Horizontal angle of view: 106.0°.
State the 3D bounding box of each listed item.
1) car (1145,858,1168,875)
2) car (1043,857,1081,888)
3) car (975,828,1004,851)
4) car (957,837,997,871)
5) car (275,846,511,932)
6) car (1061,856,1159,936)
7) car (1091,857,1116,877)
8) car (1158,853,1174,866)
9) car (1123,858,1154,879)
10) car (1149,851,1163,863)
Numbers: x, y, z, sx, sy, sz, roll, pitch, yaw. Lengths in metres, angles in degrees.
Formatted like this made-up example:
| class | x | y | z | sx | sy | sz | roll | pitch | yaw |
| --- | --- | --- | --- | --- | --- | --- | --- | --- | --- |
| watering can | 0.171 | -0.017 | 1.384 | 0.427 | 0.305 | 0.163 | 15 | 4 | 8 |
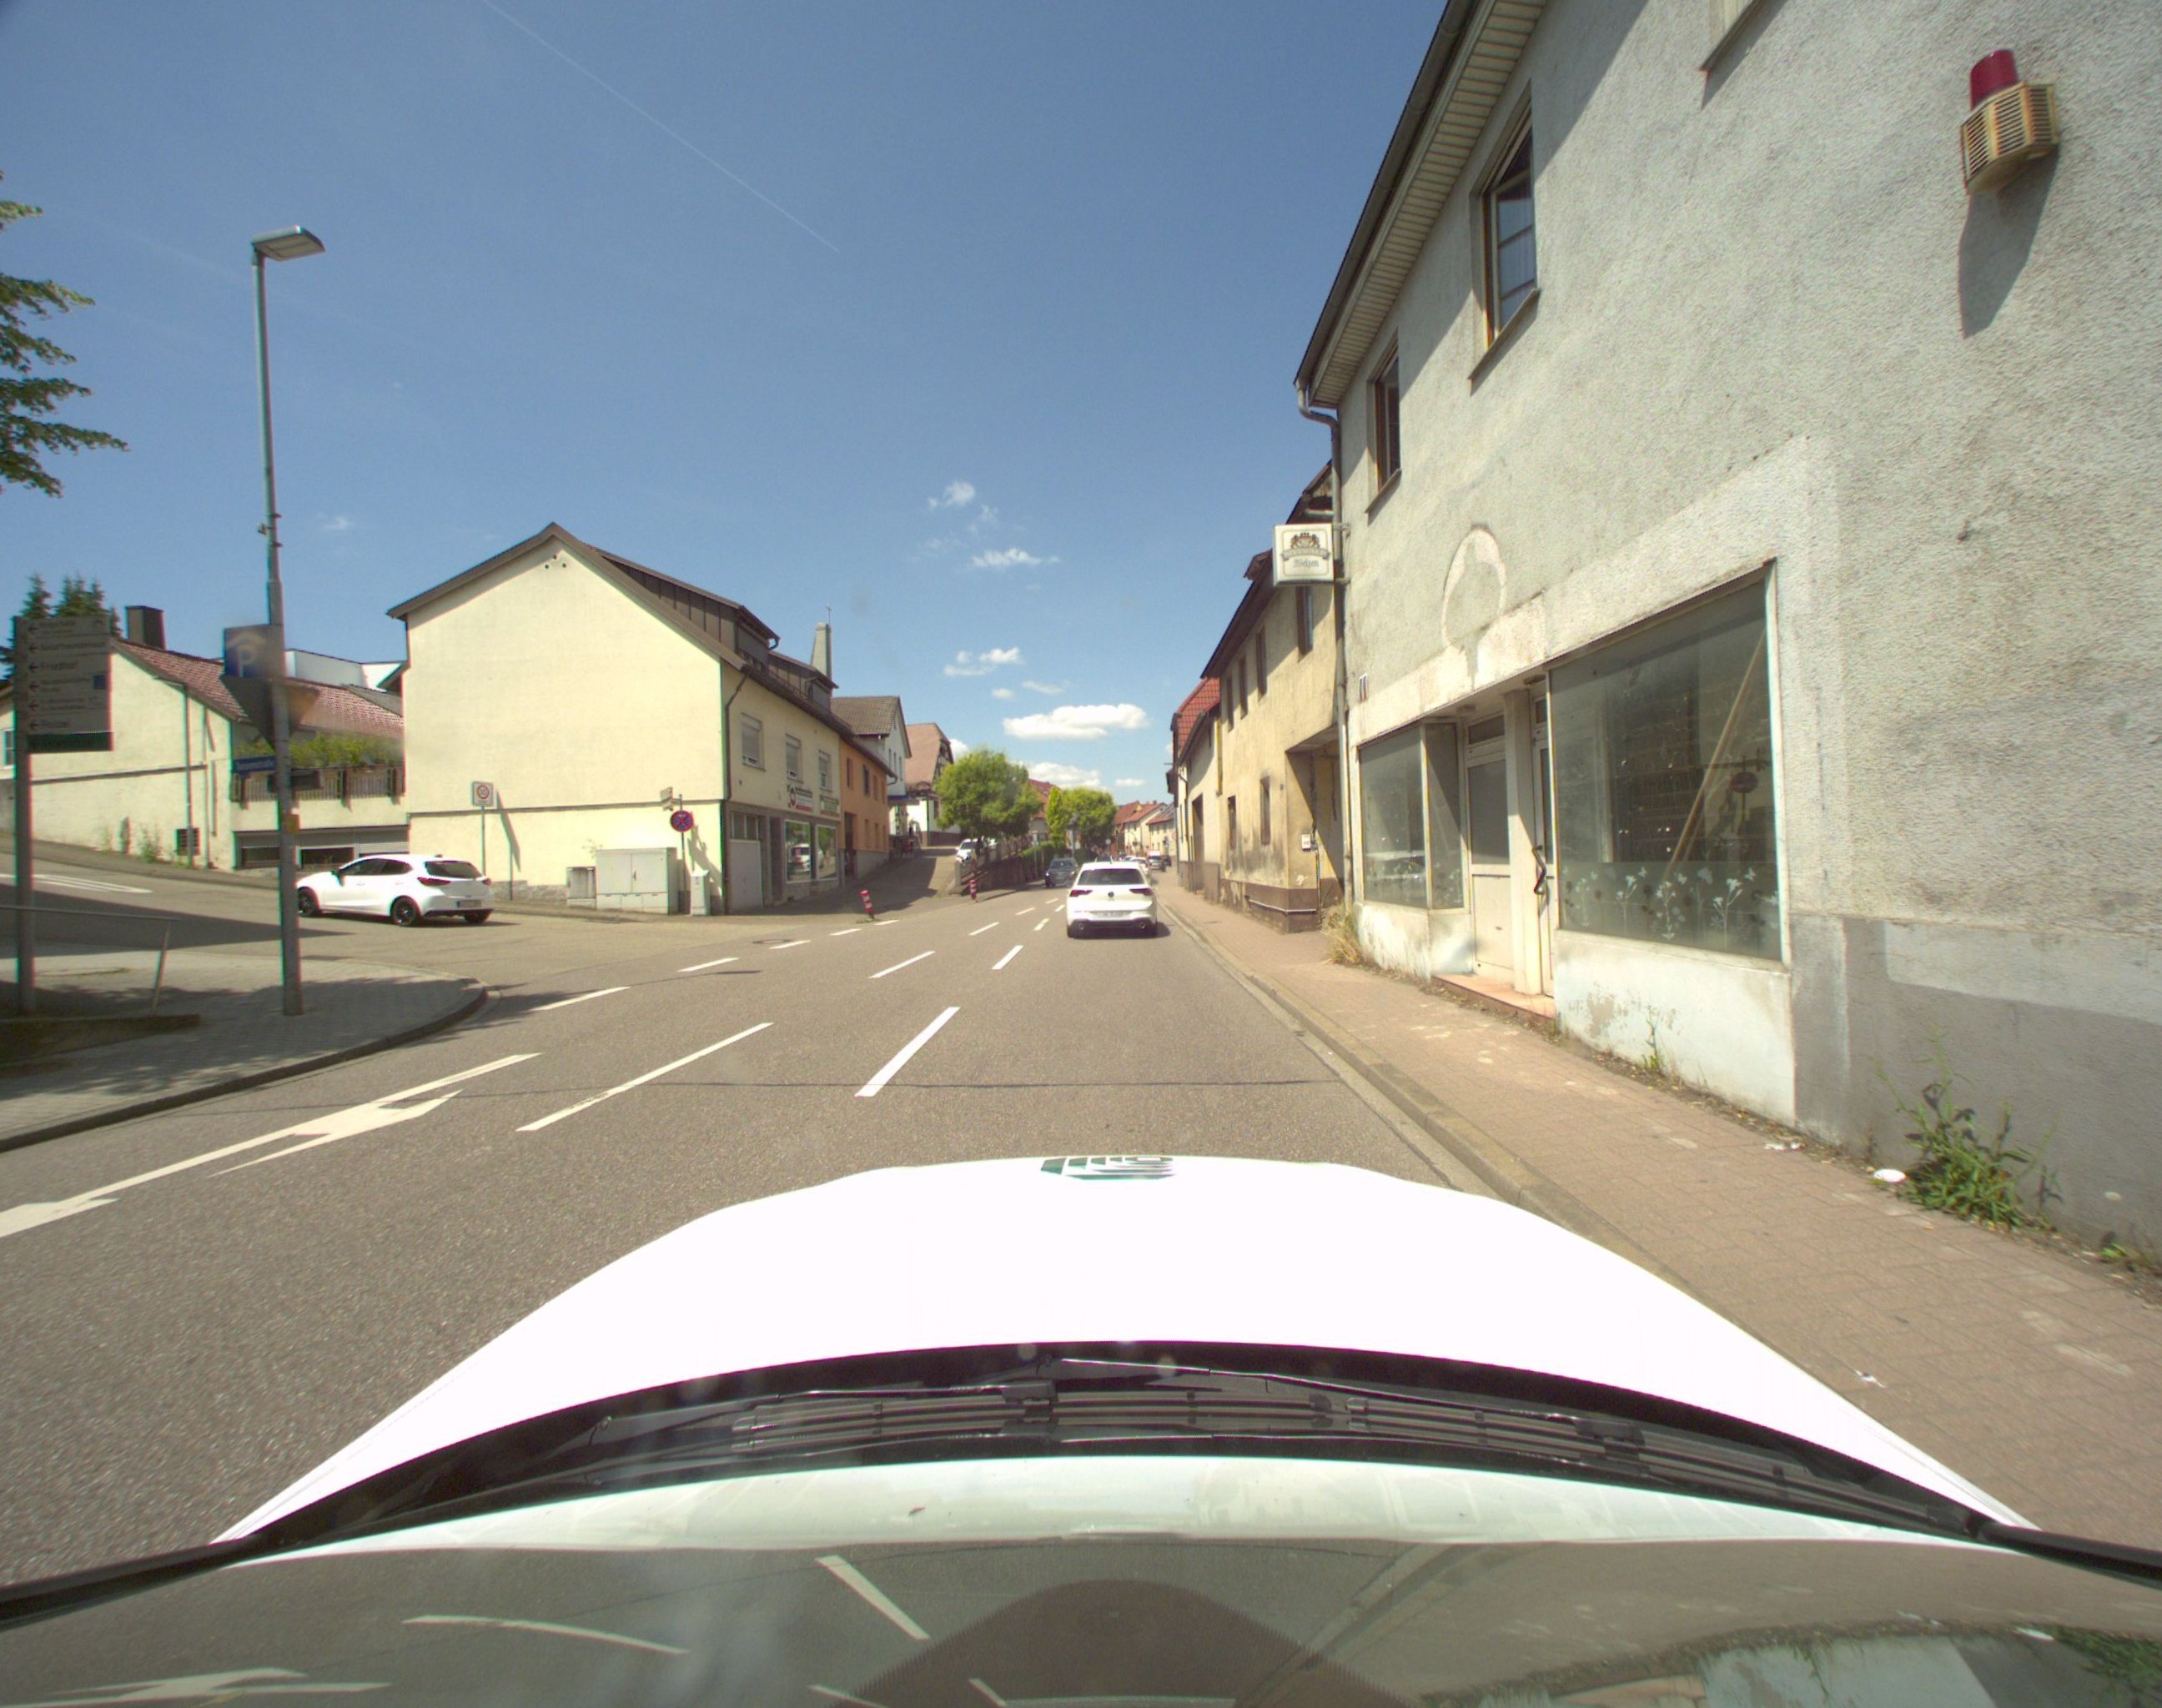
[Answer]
| class | x | y | z | sx | sy | sz | roll | pitch | yaw |
| --- | --- | --- | --- | --- | --- | --- | --- | --- | --- |
| car | 7.136 | 1.131 | 77.111 | 1.769 | 1.538 | 4.000 | -2 | 0 | 0 |
| car | -1.047 | 1.052 | 47.125 | 1.750 | 1.635 | 4.054 | -2 | 0 | 4 |
| car | -6.618 | -1.059 | 59.345 | 1.571 | 1.361 | 3.859 | -1 | 5 | 2 |
| car | -5.989 | -0.038 | 47.235 | 1.687 | 1.542 | 3.859 | -1 | 5 | 2 |
| car | -14.911 | 0.702 | 17.735 | 3.961 | 1.467 | 1.820 | 4 | 1 | 12 |
| car | 0.661 | 0.782 | 16.990 | 1.800 | 1.467 | 4.004 | 0 | -1 | 4 |
| car | 1.991 | 1.087 | 70.814 | 1.834 | 1.580 | 4.451 | -2 | 0 | 5 |
| car | 10.587 | 0.715 | 101.414 | 1.768 | 1.538 | 4.003 | -2 | 0 | 3 |
| car | 4.189 | 1.046 | 58.771 | 1.796 | 1.467 | 4.012 | 0 | -1 | 11 |
| car | 10.767 | 0.416 | 116.911 | 1.768 | 1.765 | 4.002 | -2 | 0 | 2 |
